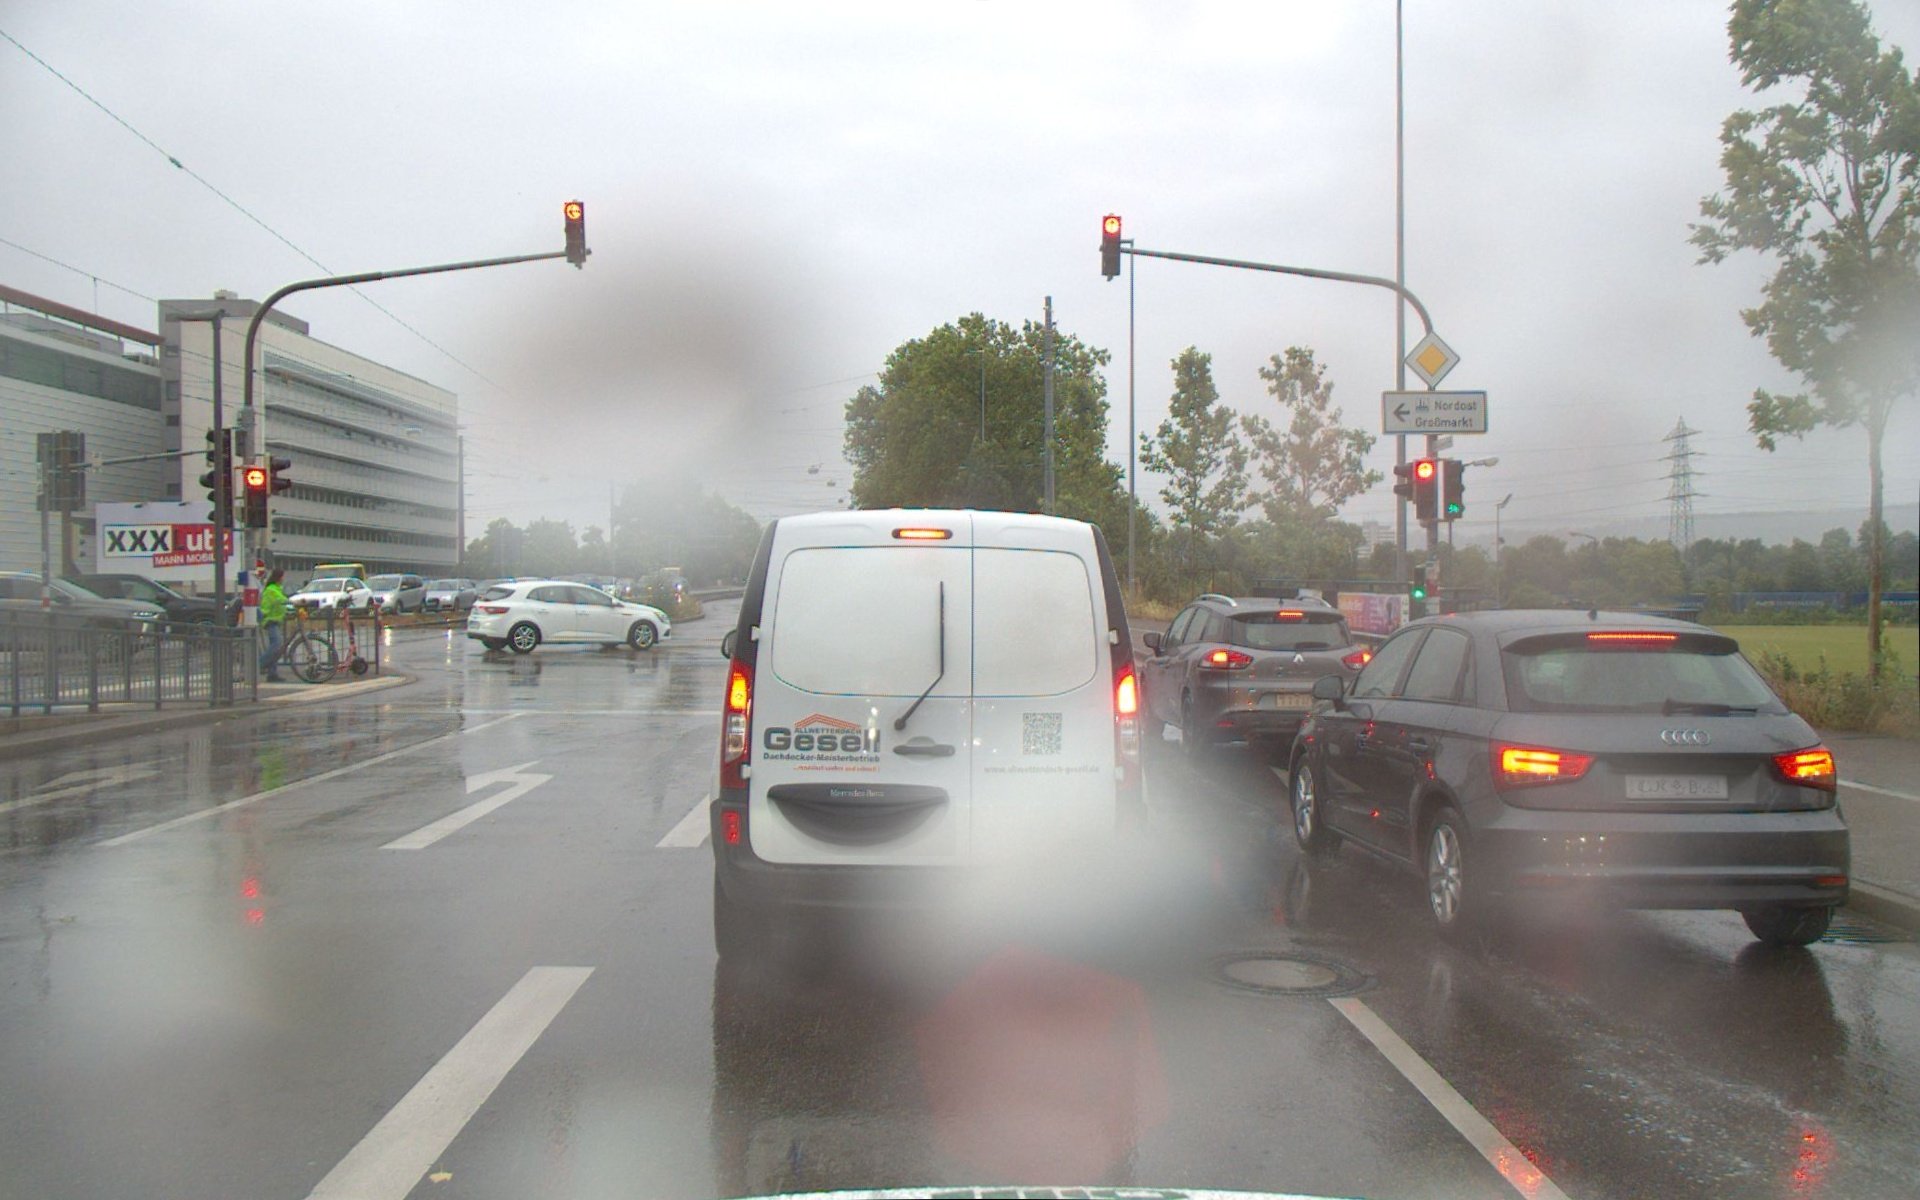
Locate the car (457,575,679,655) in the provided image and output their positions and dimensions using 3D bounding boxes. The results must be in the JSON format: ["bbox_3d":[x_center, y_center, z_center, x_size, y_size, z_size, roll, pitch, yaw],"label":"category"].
[{"bbox_3d":[-8.308,0.335,35.194,4.223,1.528,1.799,3,-1,-35],"label":"car"}]

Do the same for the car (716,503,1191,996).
[{"bbox_3d":[-0.165,0.512,8.121,1.719,1.780,4.166,1,1,-4],"label":"car"}]

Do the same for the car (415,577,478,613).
[{"bbox_3d":[-21.817,-0.192,70.378,1.528,1.451,3.568,2,-1,-1],"label":"car"}]

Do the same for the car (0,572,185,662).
[{"bbox_3d":[-16.886,0.281,30.516,4.425,1.528,1.705,3,-1,-18],"label":"car"}]

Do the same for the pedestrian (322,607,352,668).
[{"bbox_3d":[-9.698,0.581,25.762,0.309,0.912,0.380,2,0,-3],"label":"pedestrian"}]

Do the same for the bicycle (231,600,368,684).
[{"bbox_3d":[-9.466,0.598,23.740,1.745,1.157,0.512,1,0,-43],"label":"bicycle"}]

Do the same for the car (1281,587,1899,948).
[{"bbox_3d":[2.838,0.684,8.322,1.565,1.390,3.628,-1,-1,-3],"label":"car"}]

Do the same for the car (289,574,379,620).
[{"bbox_3d":[-21.585,-0.081,57.172,1.676,1.451,3.808,2,-1,-1],"label":"car"}]

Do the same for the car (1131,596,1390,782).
[{"bbox_3d":[2.739,0.744,15.914,1.650,1.534,3.919,1,0,-2],"label":"car"}]

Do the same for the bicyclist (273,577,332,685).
[{"bbox_3d":[-9.447,0.436,23.774,0.600,1.517,0.591,1,0,-41],"label":"bicyclist"}]

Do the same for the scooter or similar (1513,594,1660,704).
[{"bbox_3d":[7.635,0.551,20.333,0.676,1.232,3.020,0,0,0],"label":"scooter or similar"}]

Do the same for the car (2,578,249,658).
[{"bbox_3d":[-17.856,0.394,35.620,4.422,1.528,1.706,3,-1,-16],"label":"car"}]

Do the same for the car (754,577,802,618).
[{"bbox_3d":[-8.146,-0.079,74.395,1.909,1.691,4.460,2,-1,-4],"label":"car"}]

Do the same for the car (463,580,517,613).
[{"bbox_3d":[-21.977,-0.142,77.456,1.528,1.451,3.568,2,-1,-1],"label":"car"}]

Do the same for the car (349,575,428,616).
[{"bbox_3d":[-21.763,-0.156,63.144,1.676,1.451,3.808,2,-1,-1],"label":"car"}]
